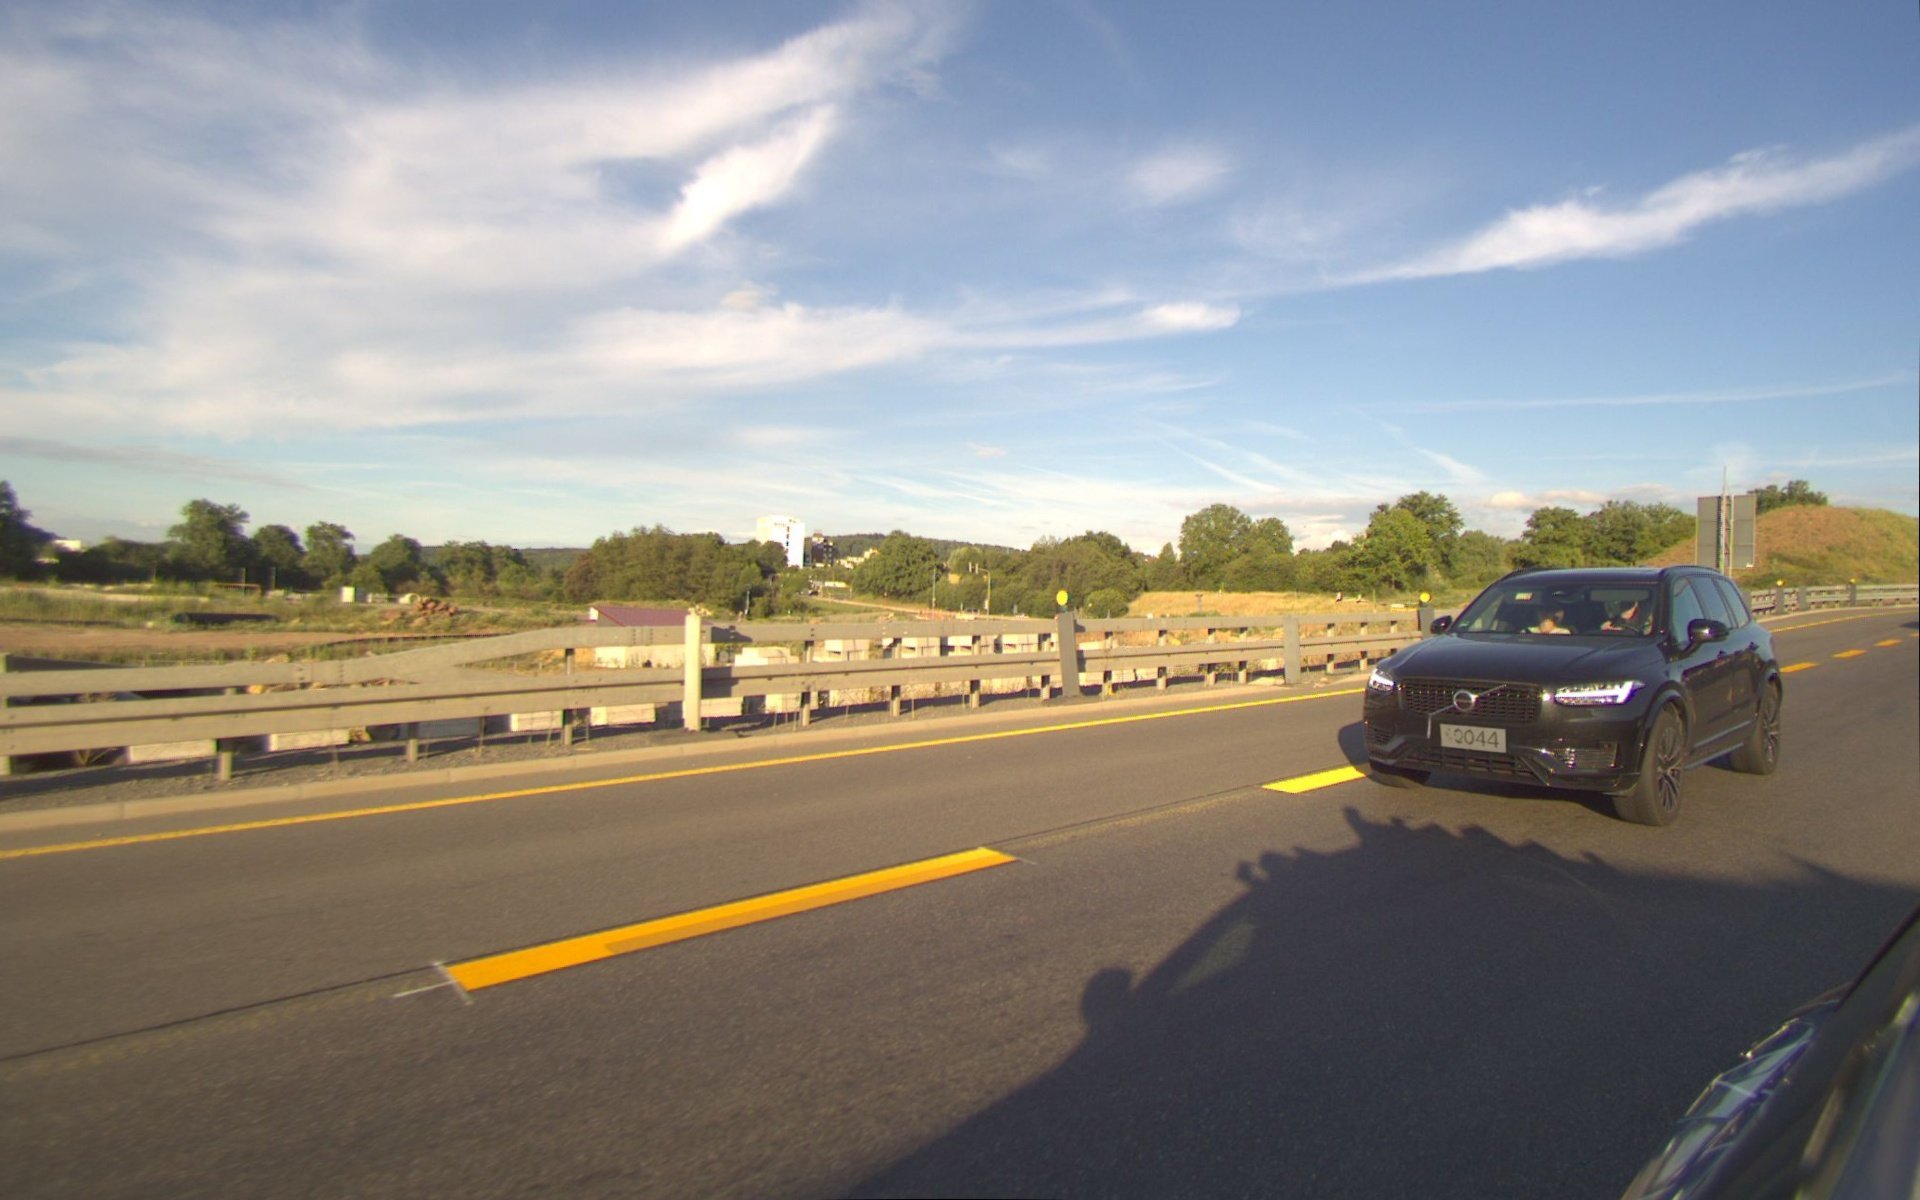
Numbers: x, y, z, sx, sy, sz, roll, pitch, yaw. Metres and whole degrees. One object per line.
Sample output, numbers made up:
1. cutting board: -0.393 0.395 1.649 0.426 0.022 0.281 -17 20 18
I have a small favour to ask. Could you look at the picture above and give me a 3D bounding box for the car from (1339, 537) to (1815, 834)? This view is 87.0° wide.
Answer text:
1. car: 5.196 0.509 8.214 4.801 1.735 1.901 0 0 -40
